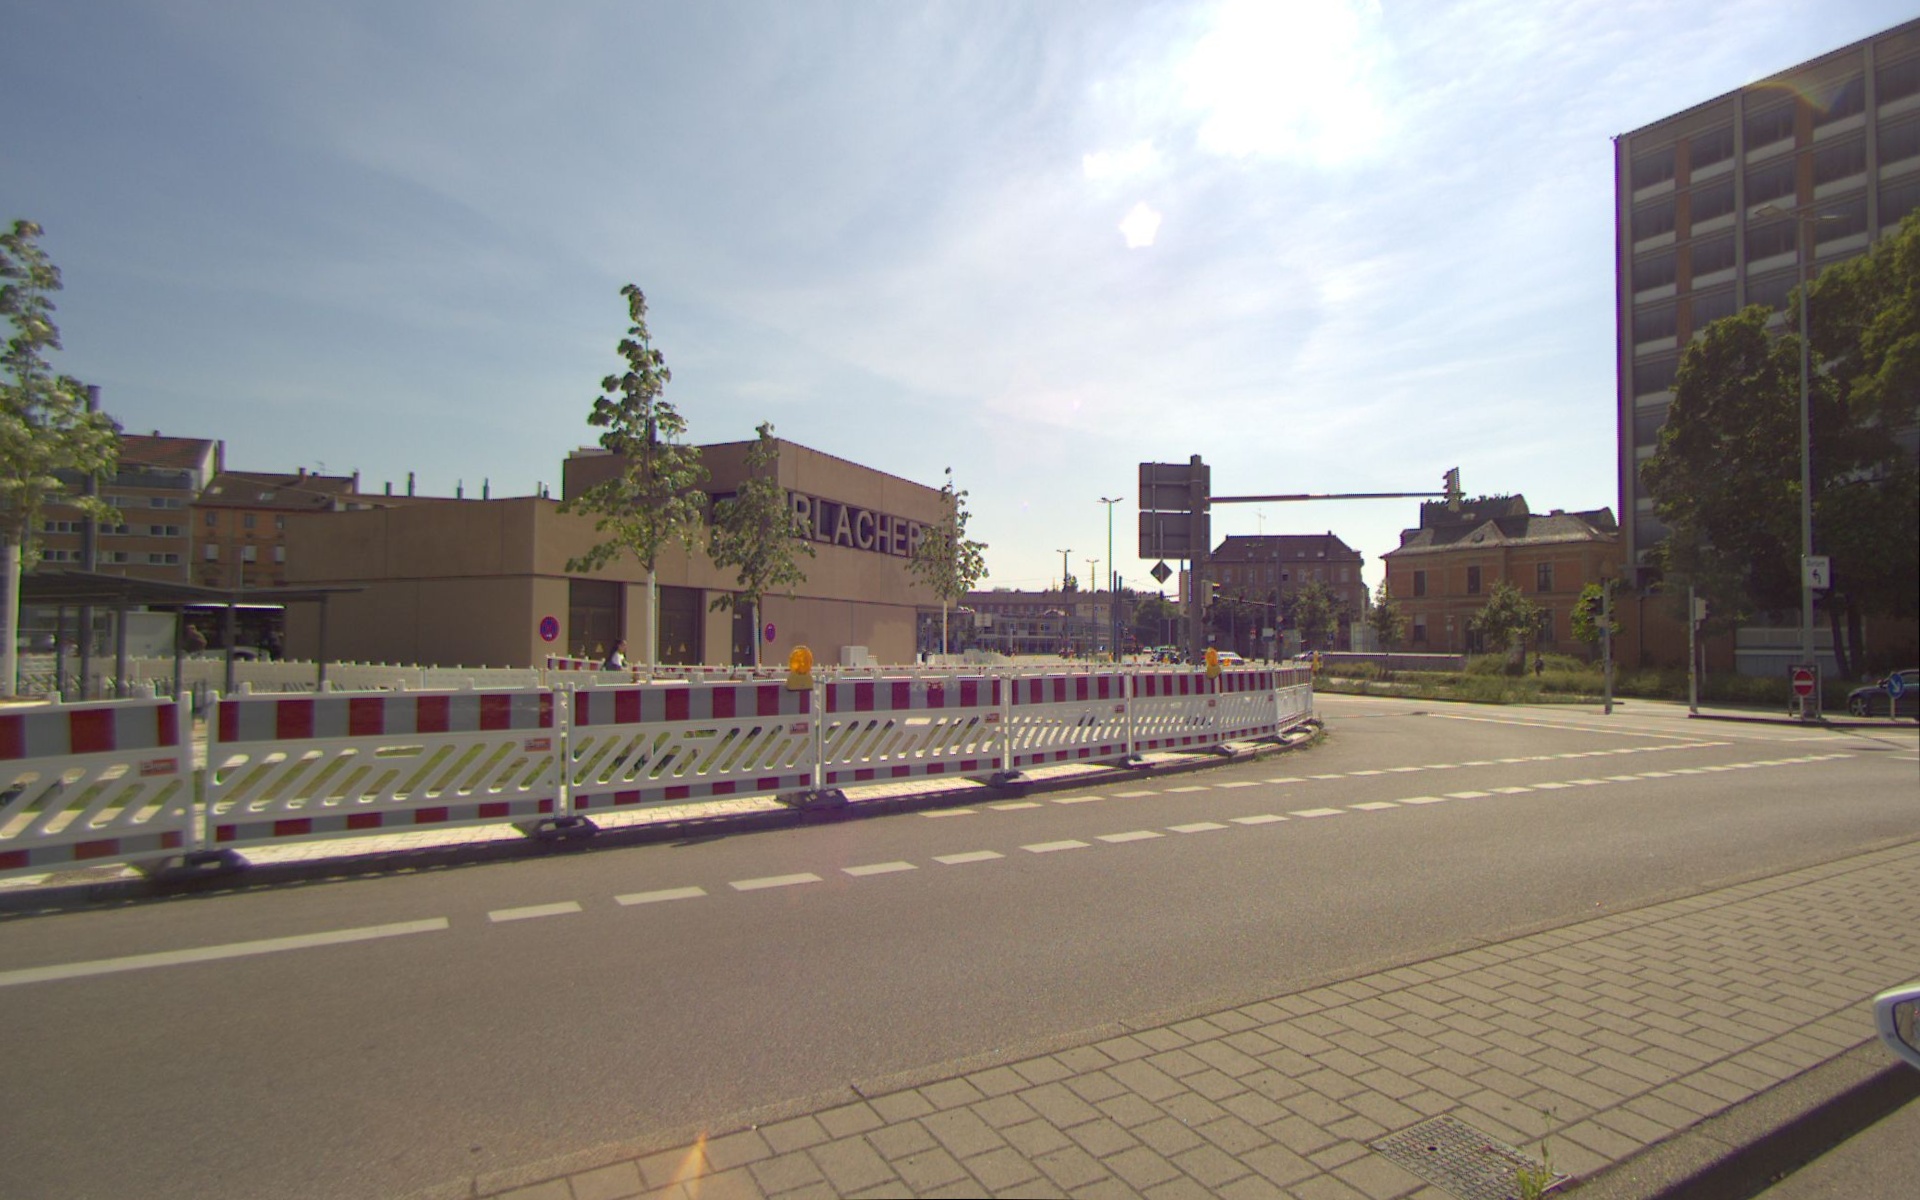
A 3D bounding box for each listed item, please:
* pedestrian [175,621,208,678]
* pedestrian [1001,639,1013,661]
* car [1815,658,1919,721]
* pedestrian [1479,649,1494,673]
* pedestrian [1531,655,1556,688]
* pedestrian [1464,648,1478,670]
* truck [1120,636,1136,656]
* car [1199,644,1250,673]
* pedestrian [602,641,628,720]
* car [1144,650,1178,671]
[{"bbox_3d":[-27.740,1.778,36.263,0.571,2.040,0.731,-1,-3,24],"label":"pedestrian"},{"bbox_3d":[3.619,3.851,77.559,0.645,1.683,0.655,3,-3,-42],"label":"pedestrian"},{"bbox_3d":[24.656,2.312,25.788,1.767,1.530,3.996,2,-3,-7],"label":"car"},{"bbox_3d":[38.019,4.393,72.528,0.637,1.683,0.650,2,0,-3],"label":"pedestrian"},{"bbox_3d":[31.303,3.838,53.877,0.857,1.748,0.799,1,-2,-7],"label":"pedestrian"},{"bbox_3d":[38.872,4.467,76.408,0.641,1.683,0.647,2,-3,-22],"label":"pedestrian"},{"bbox_3d":[32.786,8.996,196.089,3.011,3.779,7.937,0,-3,10],"label":"truck"},{"bbox_3d":[17.748,3.926,67.620,1.963,1.839,3.996,1,-3,-7],"label":"car"},{"bbox_3d":[-6.980,1.621,20.338,0.416,1.585,0.557,1,-2,-13],"label":"pedestrian"},{"bbox_3d":[15.015,4.521,75.222,1.764,1.530,4.002,1,-3,1],"label":"car"}]
